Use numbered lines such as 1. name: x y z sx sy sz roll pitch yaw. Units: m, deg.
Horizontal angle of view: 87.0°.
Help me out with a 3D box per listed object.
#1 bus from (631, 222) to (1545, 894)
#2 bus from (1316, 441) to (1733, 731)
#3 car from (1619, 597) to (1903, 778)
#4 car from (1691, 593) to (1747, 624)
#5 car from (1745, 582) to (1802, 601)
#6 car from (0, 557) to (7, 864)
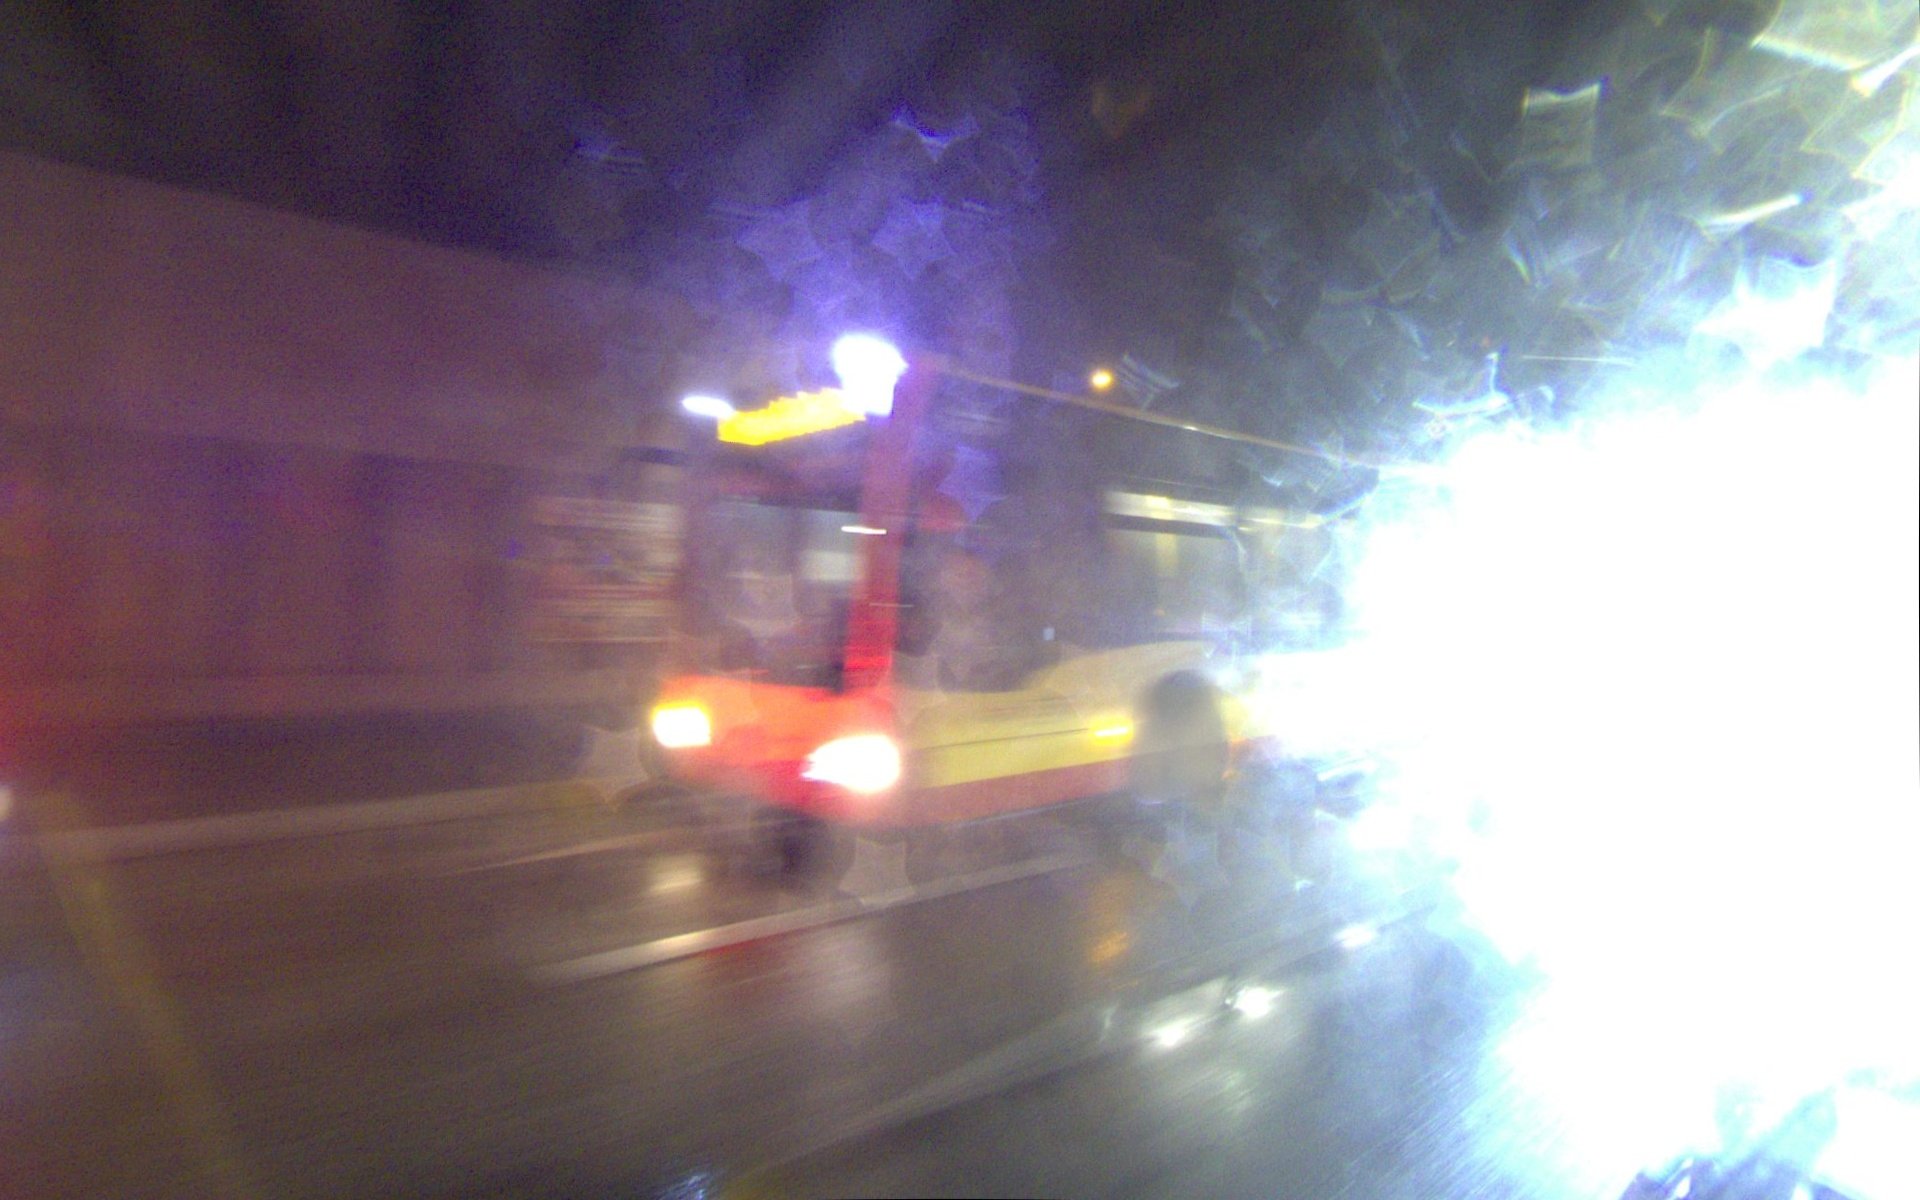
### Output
1. bus: 2.155 -0.203 9.240 9.533 3.318 2.737 1 0 -42
2. bus: 9.201 -0.152 15.687 9.533 3.279 2.737 1 0 -42
3. car: 8.429 0.787 10.518 4.092 1.506 1.721 1 -3 -44
4. car: 39.736 0.419 53.032 1.741 1.464 3.933 3 2 29
5. car: 63.588 -0.672 79.205 1.877 1.407 4.811 1 0 19
6. car: -5.735 0.564 3.026 4.089 1.505 1.724 1 2 -41
